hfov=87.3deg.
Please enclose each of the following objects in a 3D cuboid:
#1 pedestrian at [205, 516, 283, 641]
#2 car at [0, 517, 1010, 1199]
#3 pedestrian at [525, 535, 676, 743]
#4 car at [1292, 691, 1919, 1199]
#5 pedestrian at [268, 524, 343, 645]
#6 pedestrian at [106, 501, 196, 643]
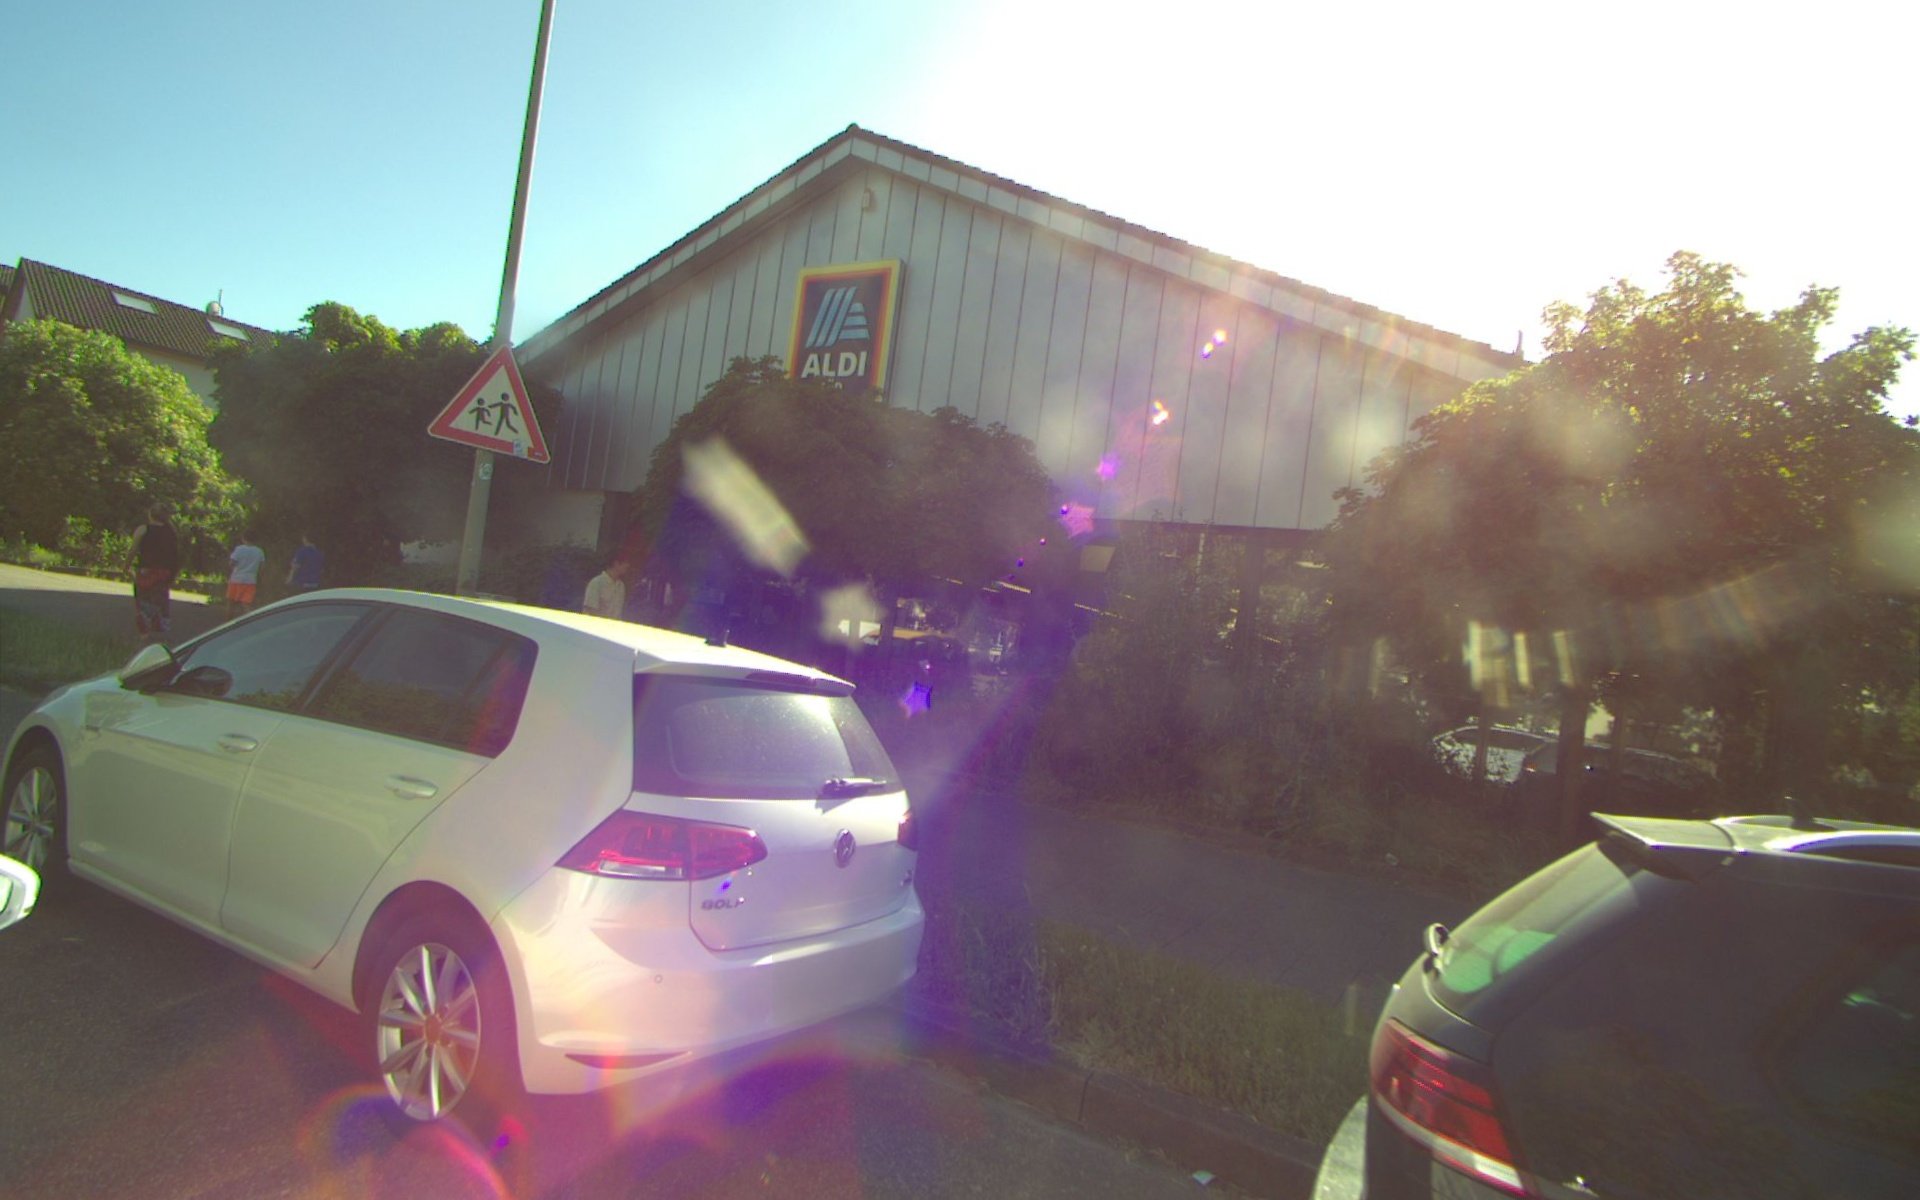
[{"bbox_3d":[-10.062,-0.295,14.136,0.538,1.655,0.567,7,-1,36],"label":"pedestrian"},{"bbox_3d":[-2.033,0.667,4.065,3.932,1.468,1.832,6,-3,30],"label":"car"},{"bbox_3d":[-3.536,0.391,9.938,0.858,1.882,0.797,7,-2,24],"label":"pedestrian"},{"bbox_3d":[2.773,1.184,1.163,4.291,1.459,1.812,7,-3,32],"label":"car"},{"bbox_3d":[-9.536,-0.225,14.665,0.538,1.655,0.567,7,-1,36],"label":"pedestrian"},{"bbox_3d":[-10.022,-0.348,12.462,0.538,1.655,0.567,7,-1,36],"label":"pedestrian"}]
